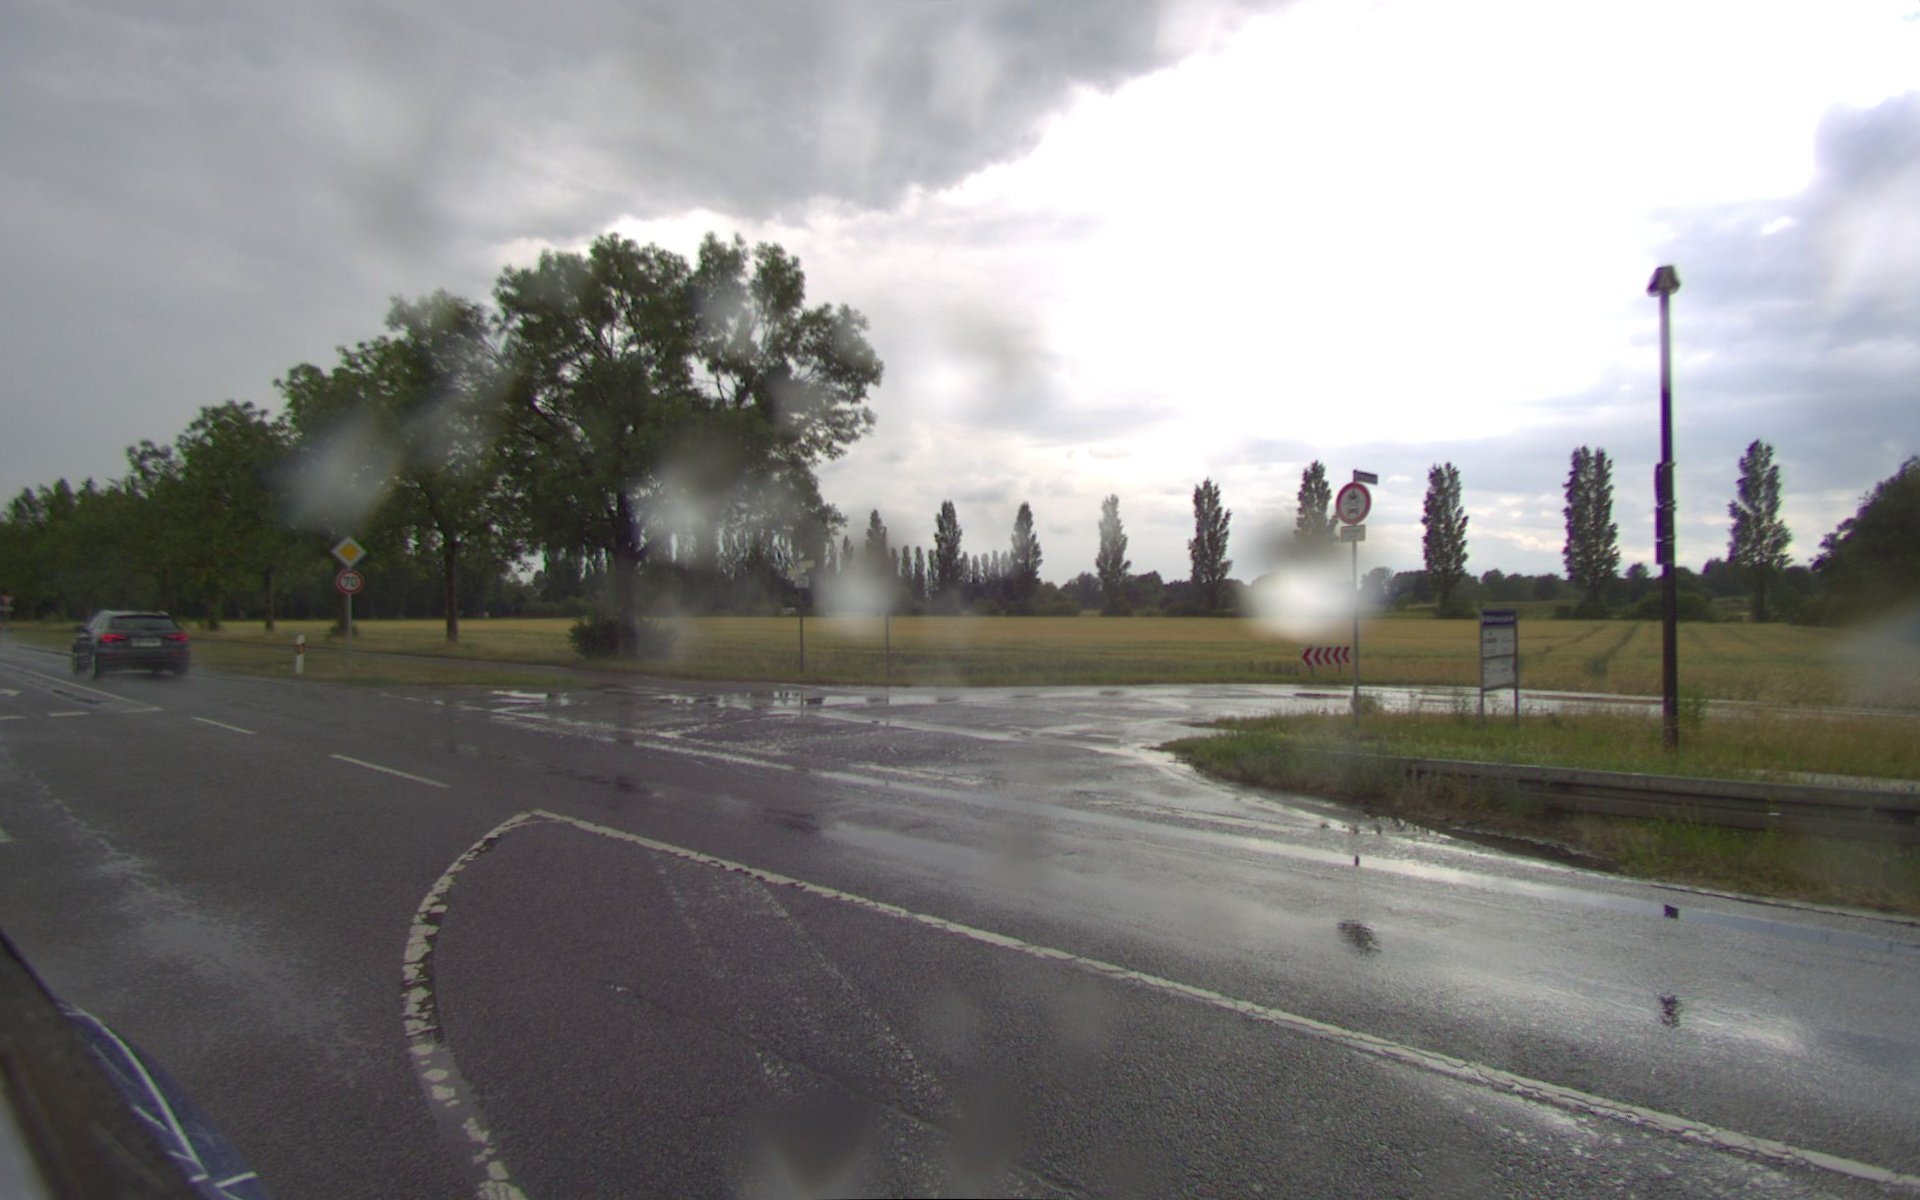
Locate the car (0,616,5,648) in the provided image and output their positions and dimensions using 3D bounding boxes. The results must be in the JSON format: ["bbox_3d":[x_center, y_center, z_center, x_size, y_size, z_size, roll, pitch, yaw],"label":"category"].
[{"bbox_3d":[-50.508,1.620,51.796,4.440,1.592,1.924,-1,-3,41],"label":"car"}]

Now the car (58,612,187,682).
[{"bbox_3d":[-20.161,1.085,24.312,4.139,1.535,1.750,-1,-3,42],"label":"car"}]
